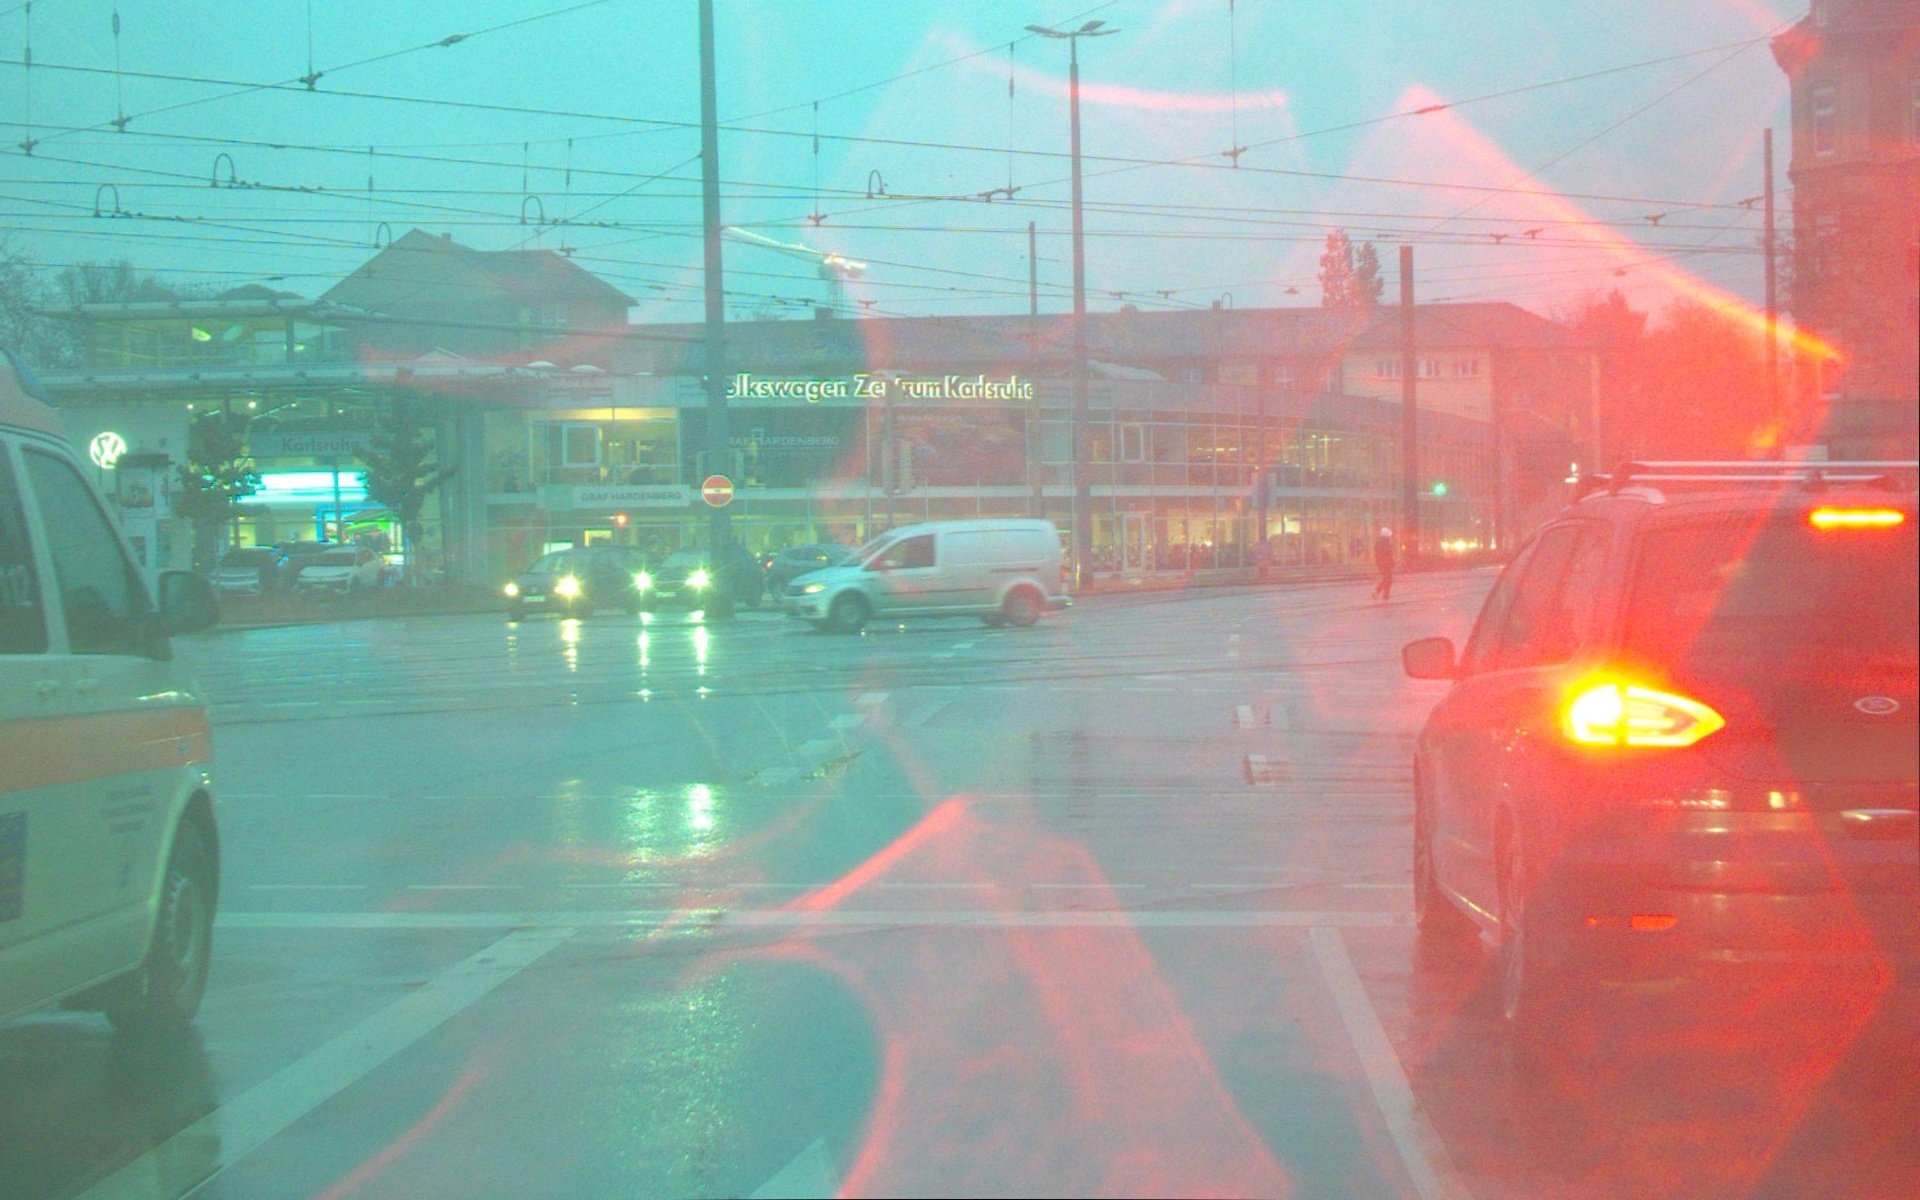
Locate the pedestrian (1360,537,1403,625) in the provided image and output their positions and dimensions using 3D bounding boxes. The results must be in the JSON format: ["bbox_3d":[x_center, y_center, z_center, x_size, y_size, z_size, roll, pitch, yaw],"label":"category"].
[{"bbox_3d":[8.846,-0.401,72.132,0.591,1.834,0.619,-2,1,-34],"label":"pedestrian"}]

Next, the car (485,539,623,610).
[{"bbox_3d":[-8.603,-0.560,73.167,1.814,1.441,3.998,-1,1,10],"label":"car"}]

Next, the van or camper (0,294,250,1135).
[{"bbox_3d":[-3.493,0.278,8.748,2.202,2.102,4.987,0,1,2],"label":"van or camper"}]

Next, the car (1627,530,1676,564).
[{"bbox_3d":[33.838,-2.594,168.258,1.864,1.596,3.783,-1,1,19],"label":"car"}]

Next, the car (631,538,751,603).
[{"bbox_3d":[-6.212,-0.703,79.798,1.814,1.441,3.998,-1,1,10],"label":"car"}]

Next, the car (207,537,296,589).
[{"bbox_3d":[-22.870,-1.199,111.130,1.862,1.596,4.000,-1,1,2],"label":"car"}]

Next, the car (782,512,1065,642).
[{"bbox_3d":[-0.629,-0.357,57.724,4.401,2.007,1.911,1,-3,-15],"label":"car"}]

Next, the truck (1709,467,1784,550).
[{"bbox_3d":[26.573,-3.080,116.044,1.995,2.682,5.111,-1,1,18],"label":"truck"}]

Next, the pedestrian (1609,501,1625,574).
[{"bbox_3d":[18.154,-1.718,95.002,0.344,2.007,0.418,-1,1,16],"label":"pedestrian"}]

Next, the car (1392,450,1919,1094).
[{"bbox_3d":[2.558,0.426,11.782,1.778,1.794,4.424,0,1,2],"label":"car"}]

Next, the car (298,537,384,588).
[{"bbox_3d":[-19.927,-1.217,110.848,1.862,1.596,4.000,-1,1,2],"label":"car"}]
